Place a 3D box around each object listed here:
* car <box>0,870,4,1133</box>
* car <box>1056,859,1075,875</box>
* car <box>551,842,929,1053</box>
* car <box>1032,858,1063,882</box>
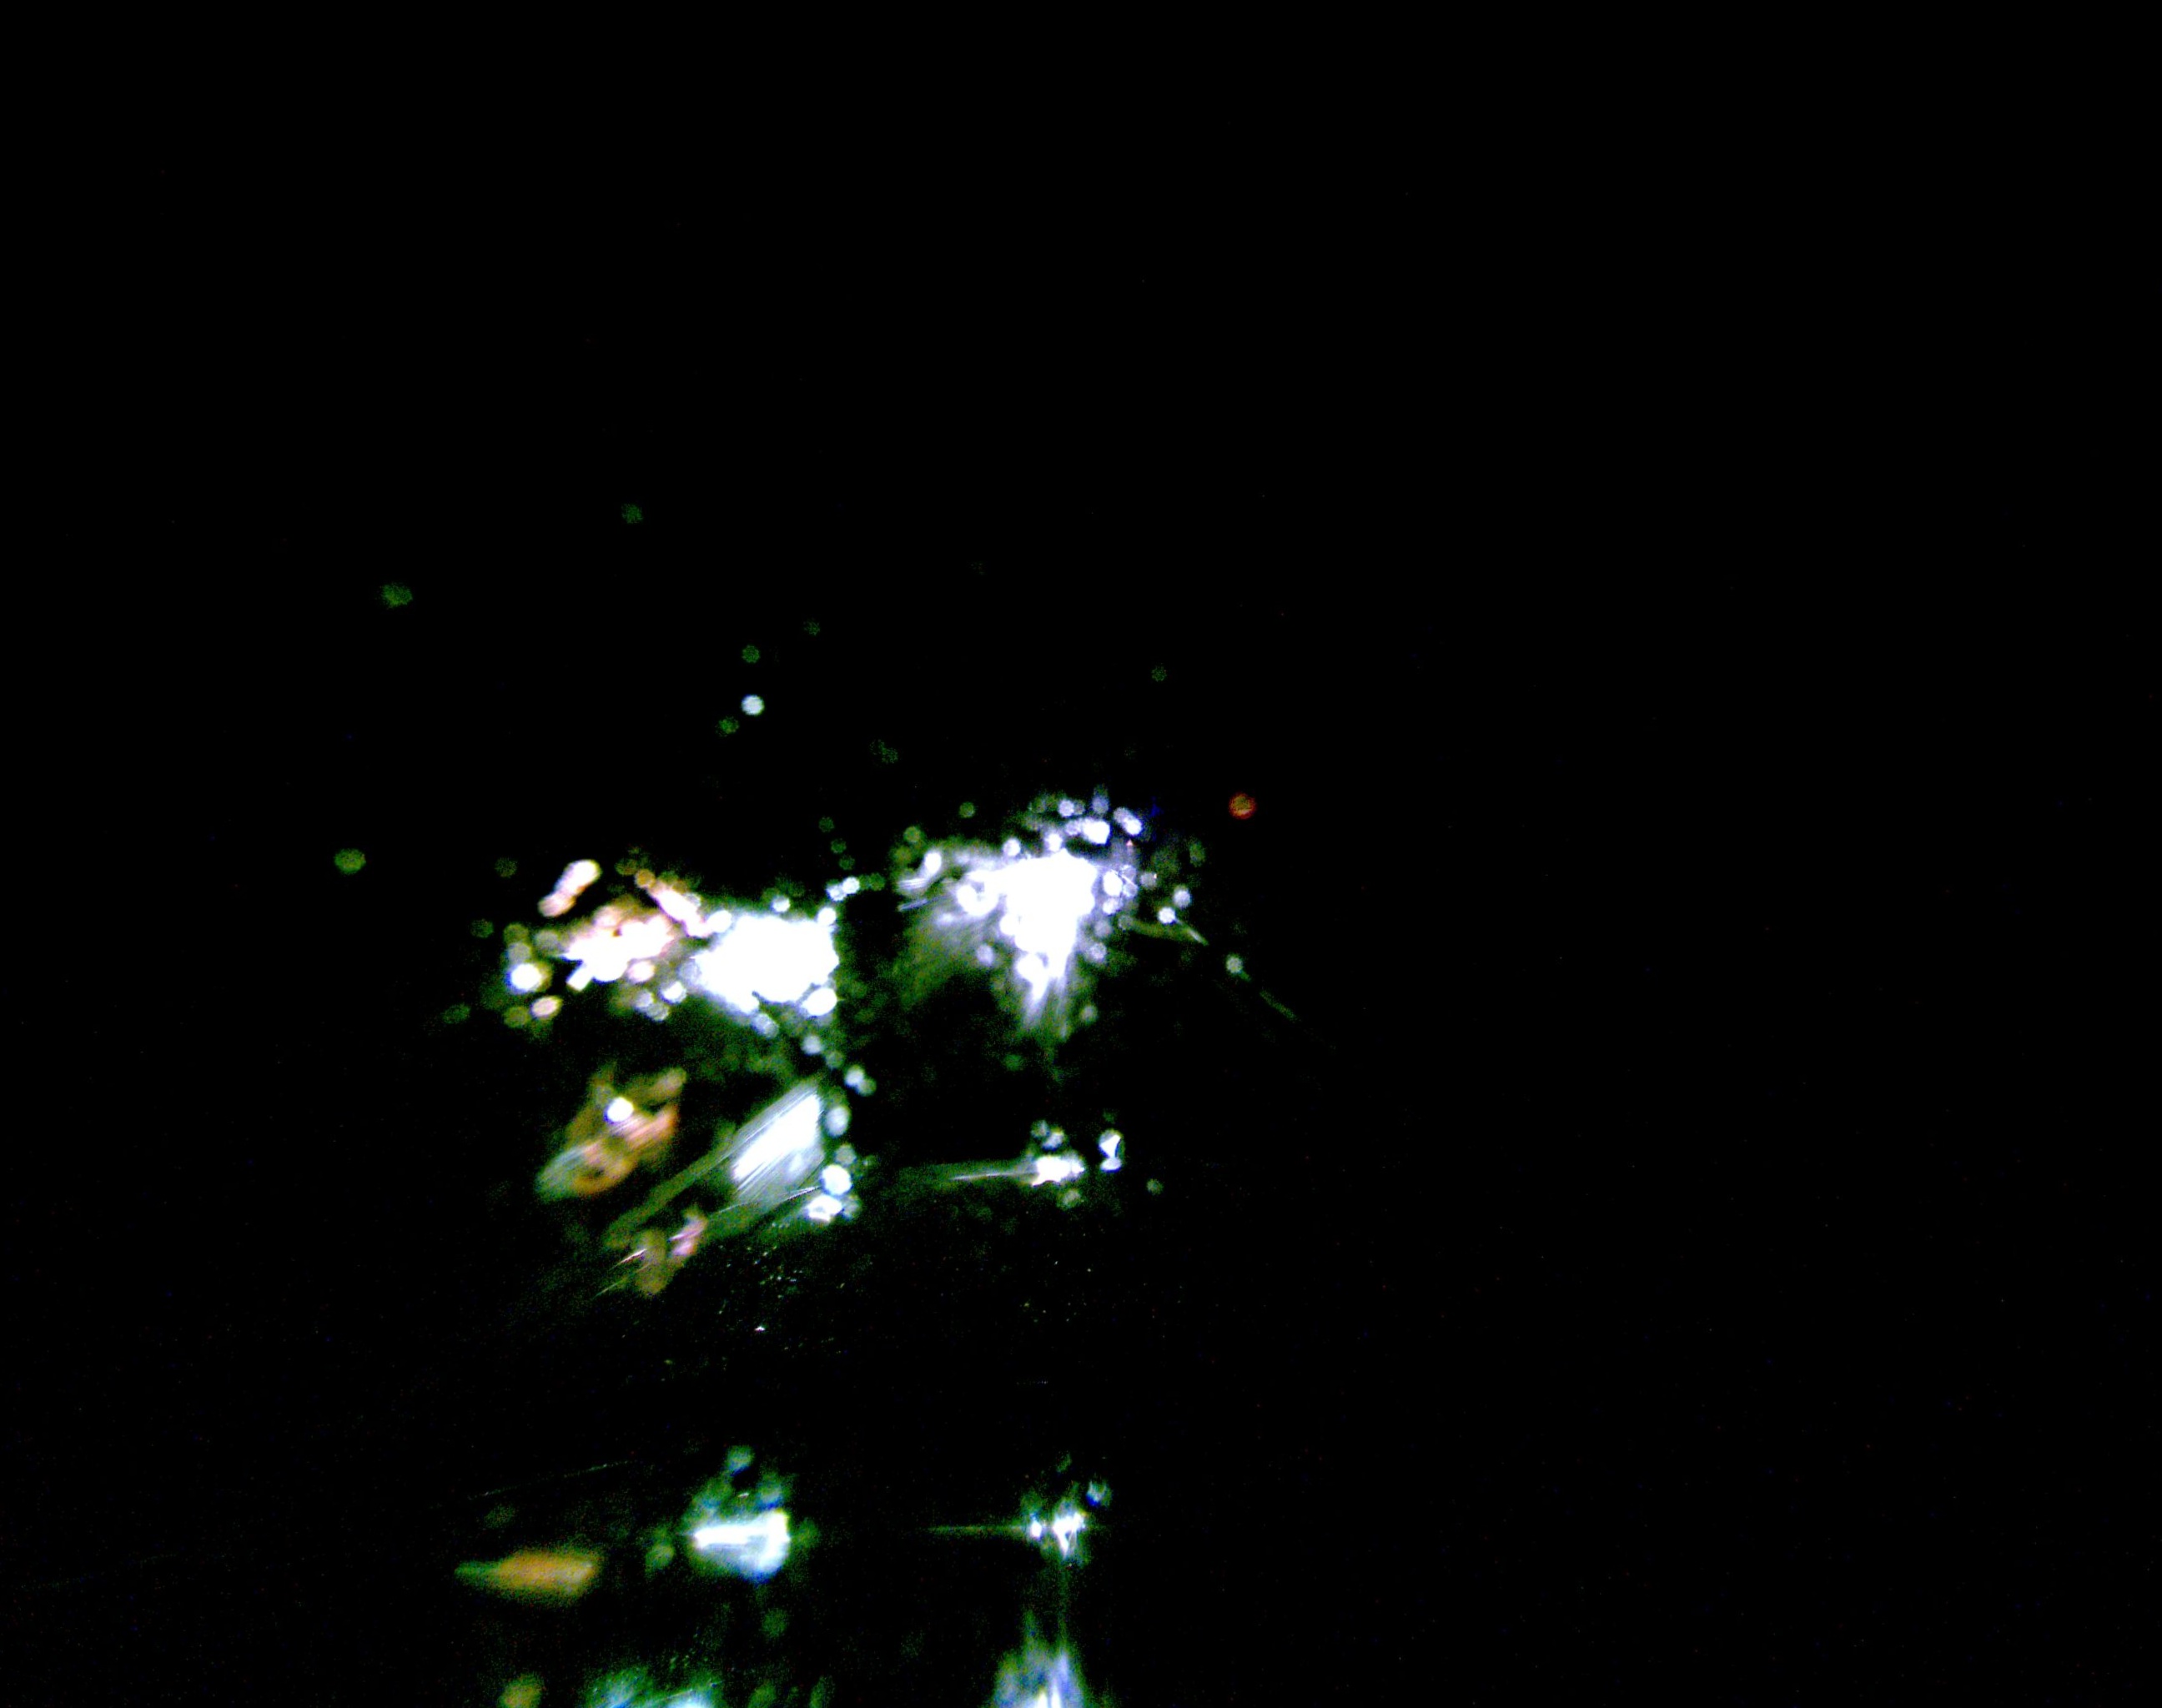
[{"bbox_3d":[-7.268,0.857,2.543,1.824,1.555,4.442,0,0,1],"label":"car"},{"bbox_3d":[-1.516,1.309,80.705,1.710,1.554,3.999,0,-1,0],"label":"car"},{"bbox_3d":[-3.167,0.764,8.891,1.939,1.638,4.823,-1,-1,2],"label":"car"},{"bbox_3d":[-2.211,1.020,54.946,1.824,1.555,4.442,0,0,1],"label":"car"}]
